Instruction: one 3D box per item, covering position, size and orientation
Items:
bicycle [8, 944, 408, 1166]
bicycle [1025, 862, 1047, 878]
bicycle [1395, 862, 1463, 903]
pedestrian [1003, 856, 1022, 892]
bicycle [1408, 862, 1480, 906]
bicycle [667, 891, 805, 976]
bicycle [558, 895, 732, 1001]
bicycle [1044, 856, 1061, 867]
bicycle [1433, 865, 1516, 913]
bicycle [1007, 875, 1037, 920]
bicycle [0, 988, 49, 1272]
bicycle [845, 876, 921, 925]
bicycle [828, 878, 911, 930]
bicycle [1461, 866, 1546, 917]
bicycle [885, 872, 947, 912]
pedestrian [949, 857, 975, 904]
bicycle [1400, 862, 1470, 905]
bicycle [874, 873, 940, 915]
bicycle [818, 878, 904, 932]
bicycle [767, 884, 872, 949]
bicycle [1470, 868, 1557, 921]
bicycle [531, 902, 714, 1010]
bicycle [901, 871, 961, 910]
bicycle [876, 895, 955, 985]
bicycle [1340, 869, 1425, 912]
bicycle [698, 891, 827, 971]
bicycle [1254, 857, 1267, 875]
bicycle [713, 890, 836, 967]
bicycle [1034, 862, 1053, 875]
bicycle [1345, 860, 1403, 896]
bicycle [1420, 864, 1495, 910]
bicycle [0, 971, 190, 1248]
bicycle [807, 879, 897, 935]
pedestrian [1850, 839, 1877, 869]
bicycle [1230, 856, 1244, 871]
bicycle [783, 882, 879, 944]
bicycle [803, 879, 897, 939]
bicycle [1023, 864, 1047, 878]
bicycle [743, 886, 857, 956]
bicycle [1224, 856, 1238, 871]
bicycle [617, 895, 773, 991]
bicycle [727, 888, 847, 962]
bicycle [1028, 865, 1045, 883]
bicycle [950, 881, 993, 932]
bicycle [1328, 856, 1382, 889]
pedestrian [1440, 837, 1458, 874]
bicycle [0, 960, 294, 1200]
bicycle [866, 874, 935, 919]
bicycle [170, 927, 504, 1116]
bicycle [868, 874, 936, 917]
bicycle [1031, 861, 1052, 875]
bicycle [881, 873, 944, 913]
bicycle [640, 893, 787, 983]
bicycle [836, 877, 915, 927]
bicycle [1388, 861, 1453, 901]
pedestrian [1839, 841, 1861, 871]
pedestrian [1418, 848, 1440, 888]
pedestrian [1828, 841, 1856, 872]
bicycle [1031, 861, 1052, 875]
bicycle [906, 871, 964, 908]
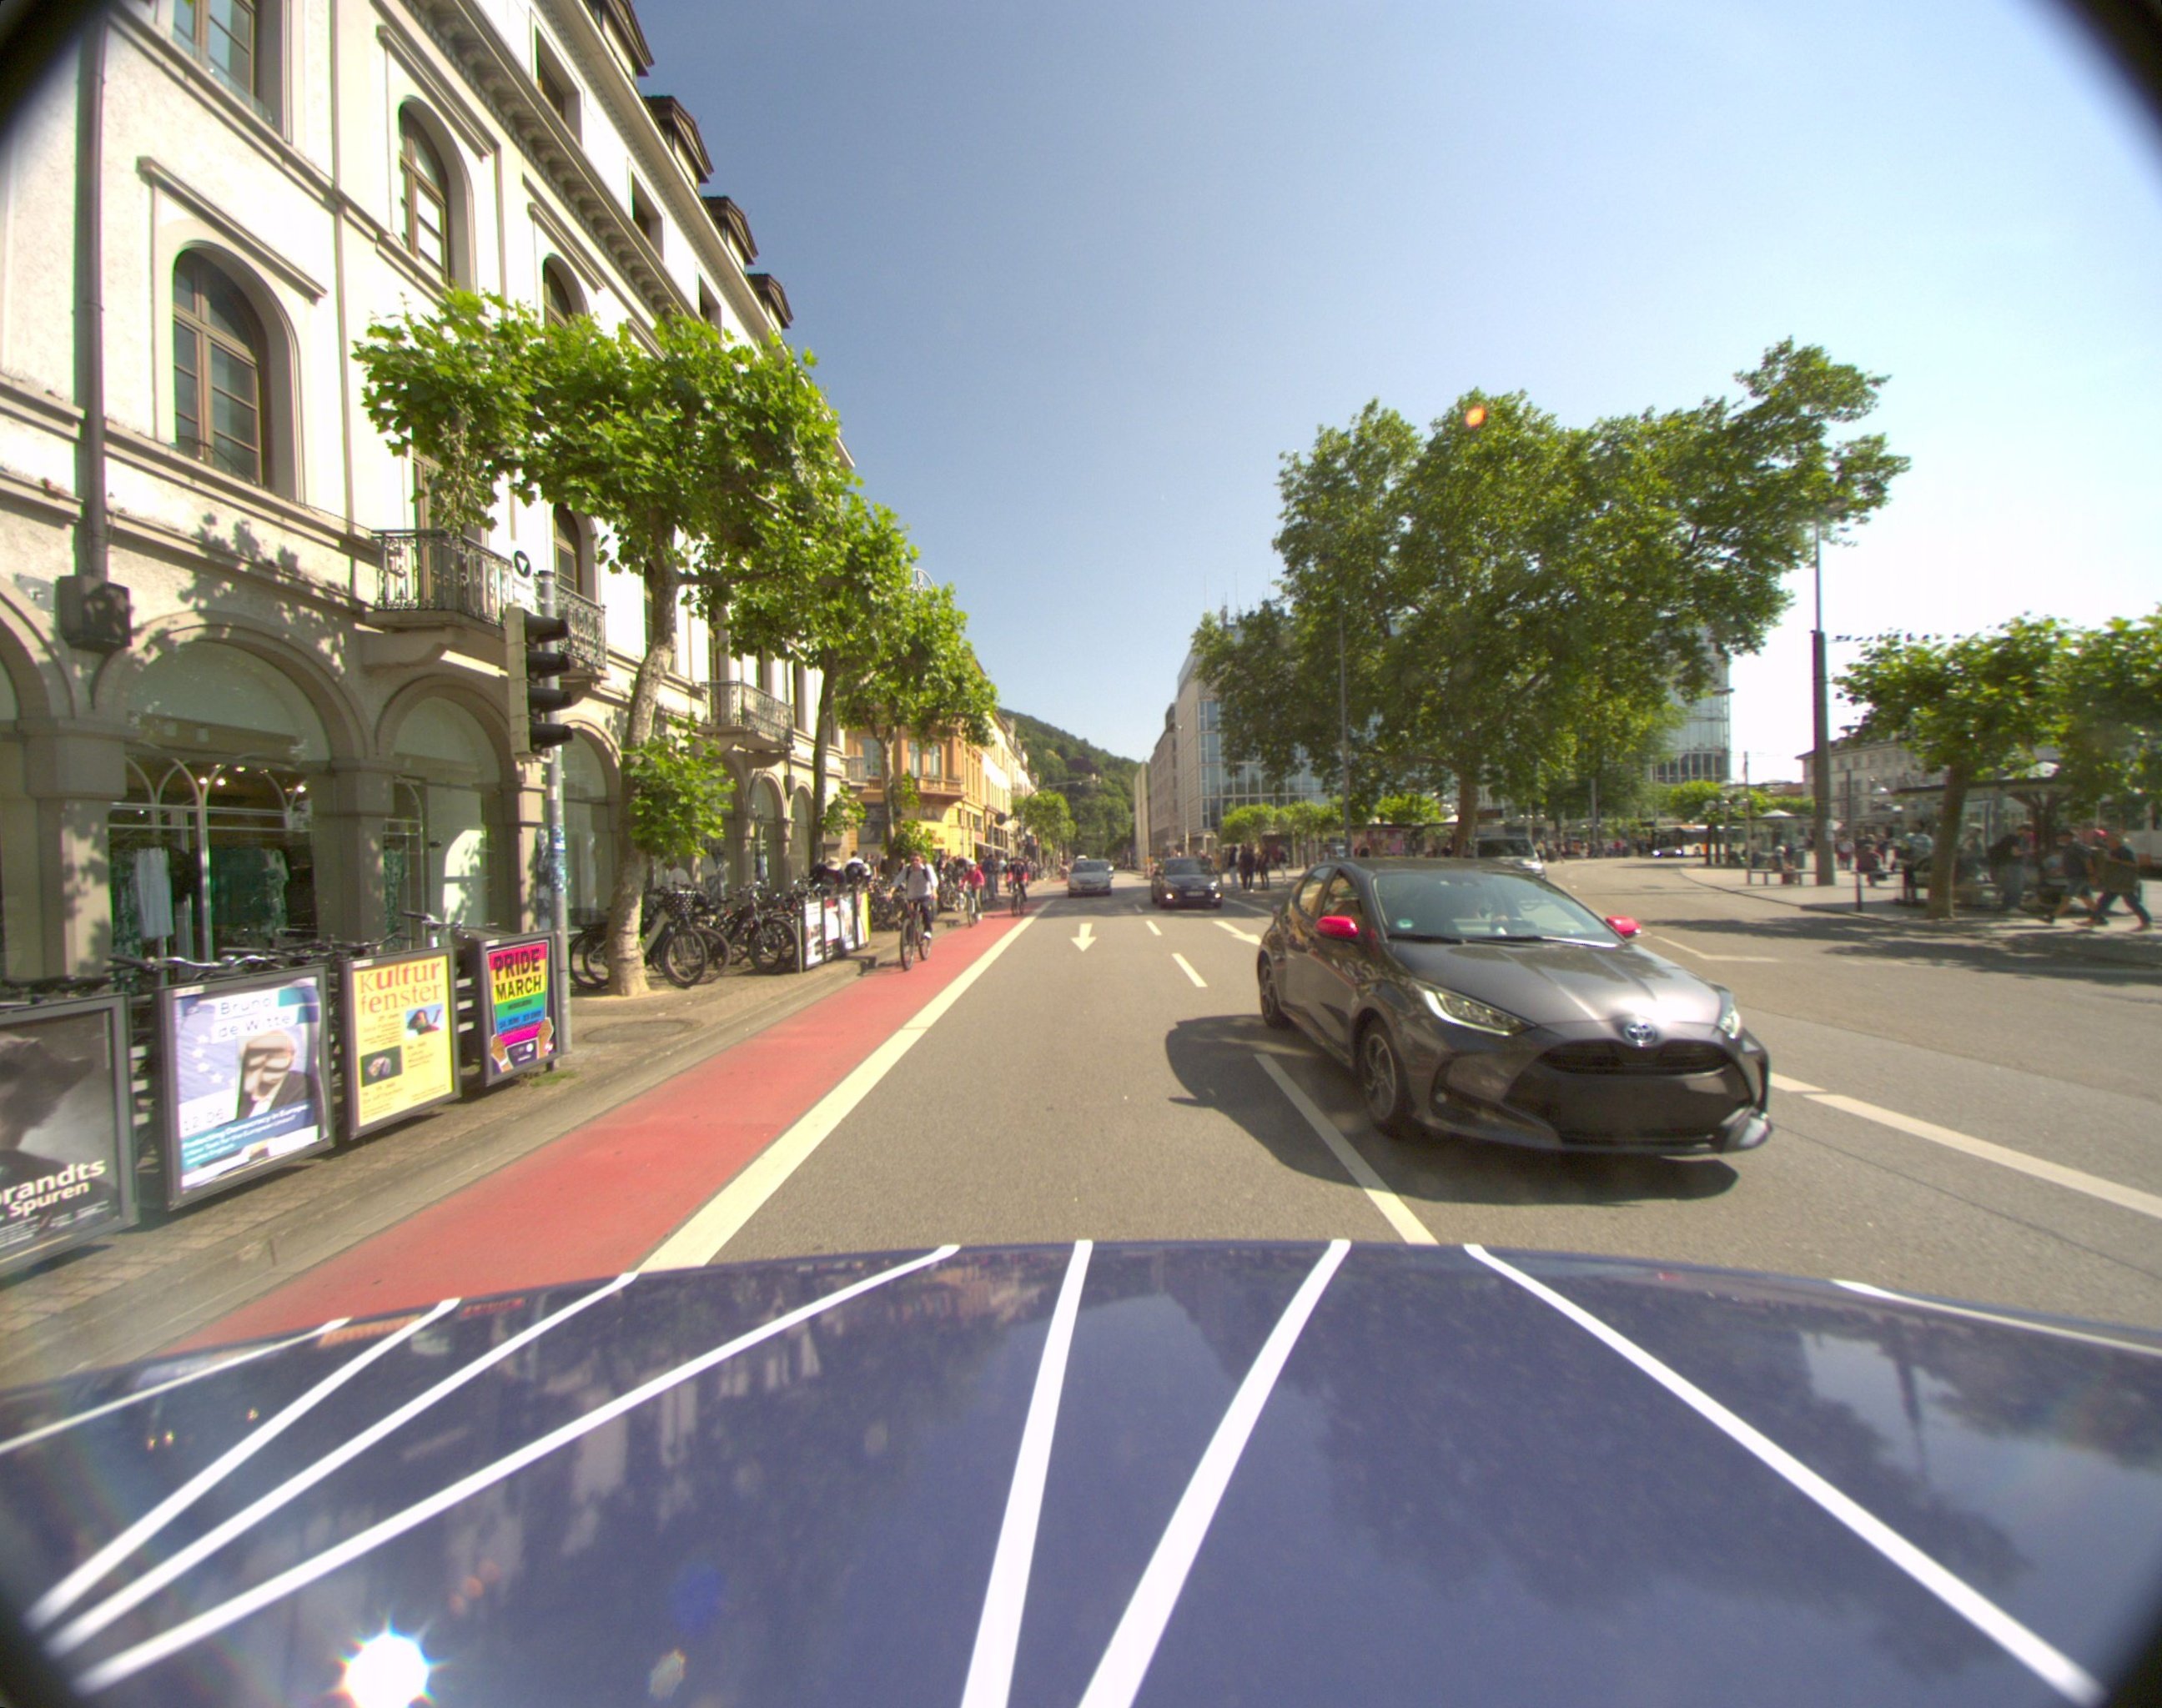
[{"bbox_3d":[-5.161,1.167,4.553,1.757,1.140,0.483,-2,1,-1],"label":"bicycle"},{"bbox_3d":[-3.593,1.275,60.723,1.757,1.140,0.592,-2,1,-1],"label":"bicycle"},{"bbox_3d":[10.210,0.823,22.297,1.757,1.140,0.483,-2,1,-1],"label":"bicycle"},{"bbox_3d":[-3.267,0.945,36.188,0.579,1.675,0.726,-4,1,-22],"label":"pedestrian"},{"bbox_3d":[10.058,0.835,21.086,1.757,1.140,0.483,-2,1,-1],"label":"bicycle"},{"bbox_3d":[-5.043,1.157,11.158,1.757,1.140,0.483,-2,1,-1],"label":"bicycle"},{"bbox_3d":[-5.334,1.144,9.345,1.804,1.187,0.483,-2,1,-1],"label":"bicycle"},{"bbox_3d":[-3.111,0.805,83.209,1.757,1.140,0.592,-2,1,-1],"label":"bicycle"},{"bbox_3d":[9.982,0.878,19.292,1.865,1.140,0.483,-2,1,-1],"label":"bicycle"},{"bbox_3d":[-1.616,1.182,20.970,0.667,1.086,1.897,-3,0,-2],"label":"bicycle"},{"bbox_3d":[-5.158,1.128,2.874,1.757,1.099,0.483,-2,1,-1],"label":"bicycle"},{"bbox_3d":[-5.020,1.173,19.337,1.757,1.140,0.592,-2,1,-1],"label":"bicycle"},{"bbox_3d":[-4.995,1.175,18.005,1.757,1.140,0.592,-2,1,-1],"label":"bicycle"},{"bbox_3d":[10.152,0.897,18.271,1.757,1.140,0.483,-2,1,-1],"label":"bicycle"},{"bbox_3d":[-5.117,1.167,23.597,1.757,1.151,0.592,-2,1,-1],"label":"bicycle"},{"bbox_3d":[-4.393,0.980,28.014,0.620,1.675,0.579,-3,1,45],"label":"pedestrian"},{"bbox_3d":[10.090,0.831,21.673,1.757,1.140,0.483,-2,1,-1],"label":"bicycle"},{"bbox_3d":[-5.069,1.168,22.240,1.757,1.140,0.592,-2,1,-1],"label":"bicycle"},{"bbox_3d":[-5.003,1.158,17.329,1.757,1.140,0.592,-2,1,-1],"label":"bicycle"},{"bbox_3d":[-4.978,1.184,14.507,1.757,1.140,0.592,-2,1,-1],"label":"bicycle"},{"bbox_3d":[10.086,0.935,17.745,1.757,1.140,0.483,-2,1,-1],"label":"bicycle"},{"bbox_3d":[-5.304,1.169,8.846,1.778,1.140,0.483,-2,1,-1],"label":"bicycle"},{"bbox_3d":[-4.772,1.156,24.224,1.757,1.140,0.592,-2,1,-1],"label":"bicycle"},{"bbox_3d":[-2.438,1.240,11.451,0.736,1.086,1.897,-3,0,-1],"label":"bicycle"},{"bbox_3d":[8.107,0.954,20.601,0.831,1.017,2.624,-3,0,-10],"label":"bicycle"},{"bbox_3d":[-4.919,1.187,11.789,1.757,1.140,0.483,-2,1,-1],"label":"bicycle"},{"bbox_3d":[11.810,0.782,50.047,0.729,1.137,1.914,-3,0,14],"label":"bicycle"},{"bbox_3d":[-4.937,1.188,12.300,1.757,1.140,0.483,-2,1,-1],"label":"bicycle"},{"bbox_3d":[-3.503,1.374,71.610,1.757,1.140,0.592,-2,1,-1],"label":"bicycle"},{"bbox_3d":[10.045,0.822,26.079,1.757,1.140,0.483,-2,1,-1],"label":"bicycle"},{"bbox_3d":[10.068,0.882,20.340,1.757,1.140,0.483,-2,1,-1],"label":"bicycle"},{"bbox_3d":[-5.193,1.129,3.399,1.757,1.081,0.483,-2,1,-1],"label":"bicycle"},{"bbox_3d":[-4.978,1.144,16.601,1.757,1.140,0.592,-2,1,-1],"label":"bicycle"},{"bbox_3d":[39.306,0.008,38.162,0.554,1.464,0.758,-3,1,8],"label":"pedestrian"},{"bbox_3d":[12.990,0.781,63.400,0.592,1.140,1.757,-2,0,-7],"label":"bicycle"},{"bbox_3d":[-4.985,1.171,15.191,1.707,1.140,0.519,-2,1,-1],"label":"bicycle"},{"bbox_3d":[-4.797,1.133,15.841,1.757,1.140,0.592,-2,1,-1],"label":"bicycle"},{"bbox_3d":[-3.608,1.361,59.697,1.757,1.029,0.592,-2,1,-1],"label":"bicycle"},{"bbox_3d":[-4.984,1.187,13.546,1.757,1.140,0.592,-2,1,-1],"label":"bicycle"},{"bbox_3d":[12.491,0.787,63.382,0.592,1.140,1.757,-2,0,-7],"label":"bicycle"},{"bbox_3d":[-5.050,1.153,9.991,1.757,1.140,0.483,-2,1,-1],"label":"bicycle"},{"bbox_3d":[-4.947,1.187,12.851,1.757,1.140,0.592,-2,1,-1],"label":"bicycle"},{"bbox_3d":[-2.907,1.317,49.650,0.737,1.086,1.895,2,0,-13],"label":"bicycle"},{"bbox_3d":[-2.582,1.220,18.110,0.736,1.086,1.819,-3,0,-1],"label":"bicycle"},{"bbox_3d":[9.901,0.662,27.453,1.757,1.140,0.483,-2,1,-1],"label":"bicycle"},{"bbox_3d":[17.580,0.076,36.320,0.554,1.717,0.492,-3,1,8],"label":"pedestrian"},{"bbox_3d":[-5.210,1.139,3.901,1.757,1.062,0.483,-2,1,-1],"label":"bicycle"},{"bbox_3d":[-4.955,1.165,20.903,1.757,1.140,0.518,-2,1,-1],"label":"bicycle"},{"bbox_3d":[-5.090,1.129,5.258,1.757,1.140,0.483,-2,1,-1],"label":"bicycle"},{"bbox_3d":[-5.054,1.169,21.518,1.757,1.140,0.592,-2,1,-1],"label":"bicycle"},{"bbox_3d":[-3.352,1.155,64.242,1.757,1.140,0.592,-2,1,-1],"label":"bicycle"},{"bbox_3d":[-5.084,1.167,22.996,1.757,1.140,0.592,-2,1,-1],"label":"bicycle"},{"bbox_3d":[-5.068,1.152,10.525,1.757,1.140,0.483,-2,1,-1],"label":"bicycle"},{"bbox_3d":[-5.022,1.160,18.636,1.757,1.140,0.592,-2,1,-1],"label":"bicycle"},{"bbox_3d":[10.265,0.818,22.988,1.757,1.140,0.483,-2,1,-1],"label":"bicycle"},{"bbox_3d":[38.293,0.118,37.848,0.554,1.464,0.456,-3,1,8],"label":"pedestrian"},{"bbox_3d":[13.232,0.539,28.876,0.579,1.452,0.787,-3,1,34],"label":"pedestrian"},{"bbox_3d":[37.070,0.123,37.009,0.554,1.464,0.758,-3,1,8],"label":"pedestrian"},{"bbox_3d":[-3.392,1.168,65.053,1.757,1.140,0.592,-2,1,-1],"label":"bicycle"},{"bbox_3d":[-4.769,1.155,24.930,1.757,1.140,0.592,-2,1,-1],"label":"bicycle"}]
